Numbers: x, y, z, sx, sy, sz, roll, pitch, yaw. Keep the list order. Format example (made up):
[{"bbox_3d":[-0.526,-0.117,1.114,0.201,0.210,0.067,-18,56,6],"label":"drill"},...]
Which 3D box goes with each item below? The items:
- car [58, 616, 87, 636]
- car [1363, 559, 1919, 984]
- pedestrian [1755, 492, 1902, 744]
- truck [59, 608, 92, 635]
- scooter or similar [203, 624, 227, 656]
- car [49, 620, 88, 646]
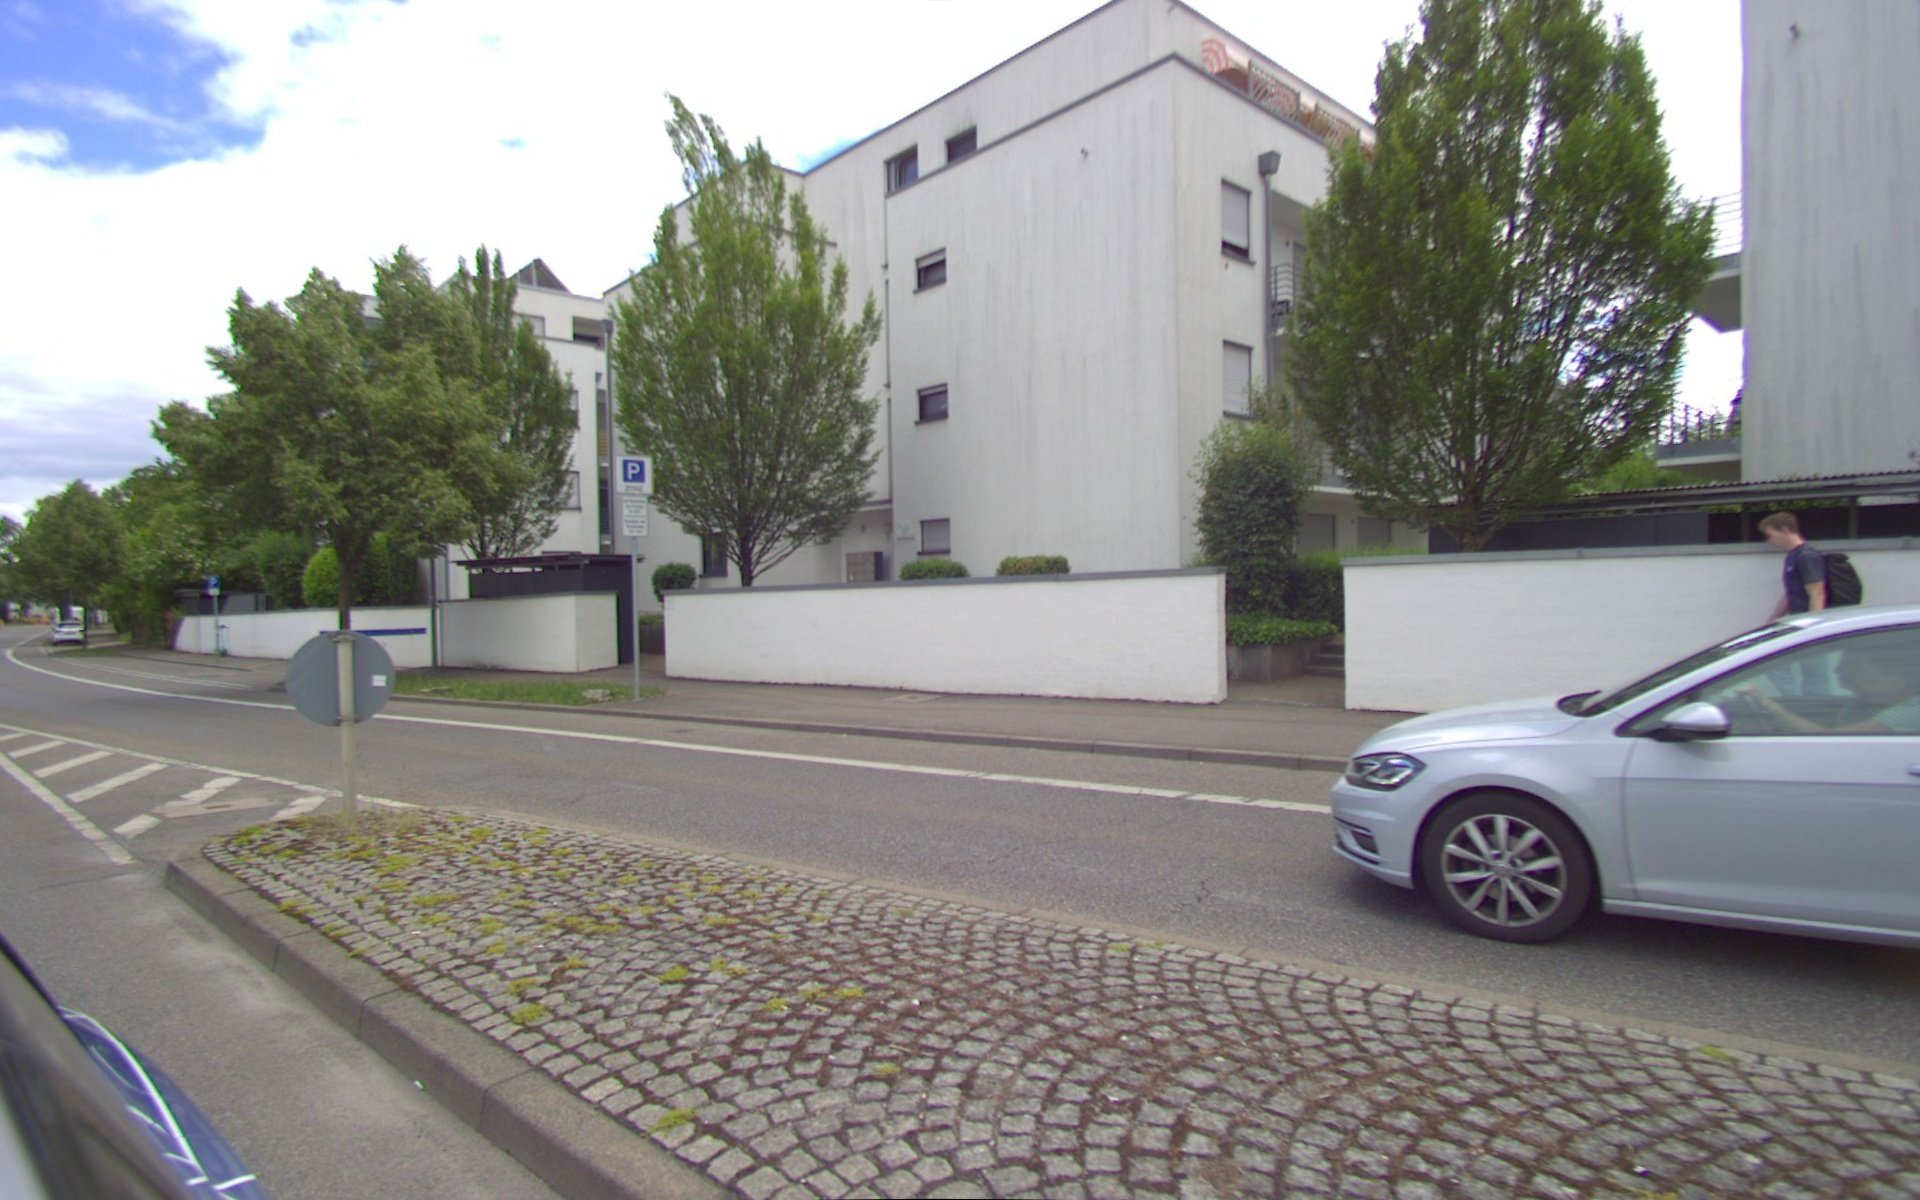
[{"bbox_3d":[-77.319,2.268,88.203,1.862,1.628,4.006,-1,0,-41],"label":"car"},{"bbox_3d":[3.914,0.575,4.107,3.939,1.454,1.783,-1,0,35],"label":"car"},{"bbox_3d":[7.169,0.128,8.398,0.870,1.962,0.642,-1,3,37],"label":"pedestrian"},{"bbox_3d":[-94.942,2.289,108.603,2.603,2.794,6.264,-1,1,-42],"label":"truck"},{"bbox_3d":[-28.598,1.516,38.859,1.327,1.174,0.428,-1,3,43],"label":"scooter or similar"},{"bbox_3d":[-59.926,2.190,68.043,1.888,1.665,4.006,-1,0,-41],"label":"car"}]
